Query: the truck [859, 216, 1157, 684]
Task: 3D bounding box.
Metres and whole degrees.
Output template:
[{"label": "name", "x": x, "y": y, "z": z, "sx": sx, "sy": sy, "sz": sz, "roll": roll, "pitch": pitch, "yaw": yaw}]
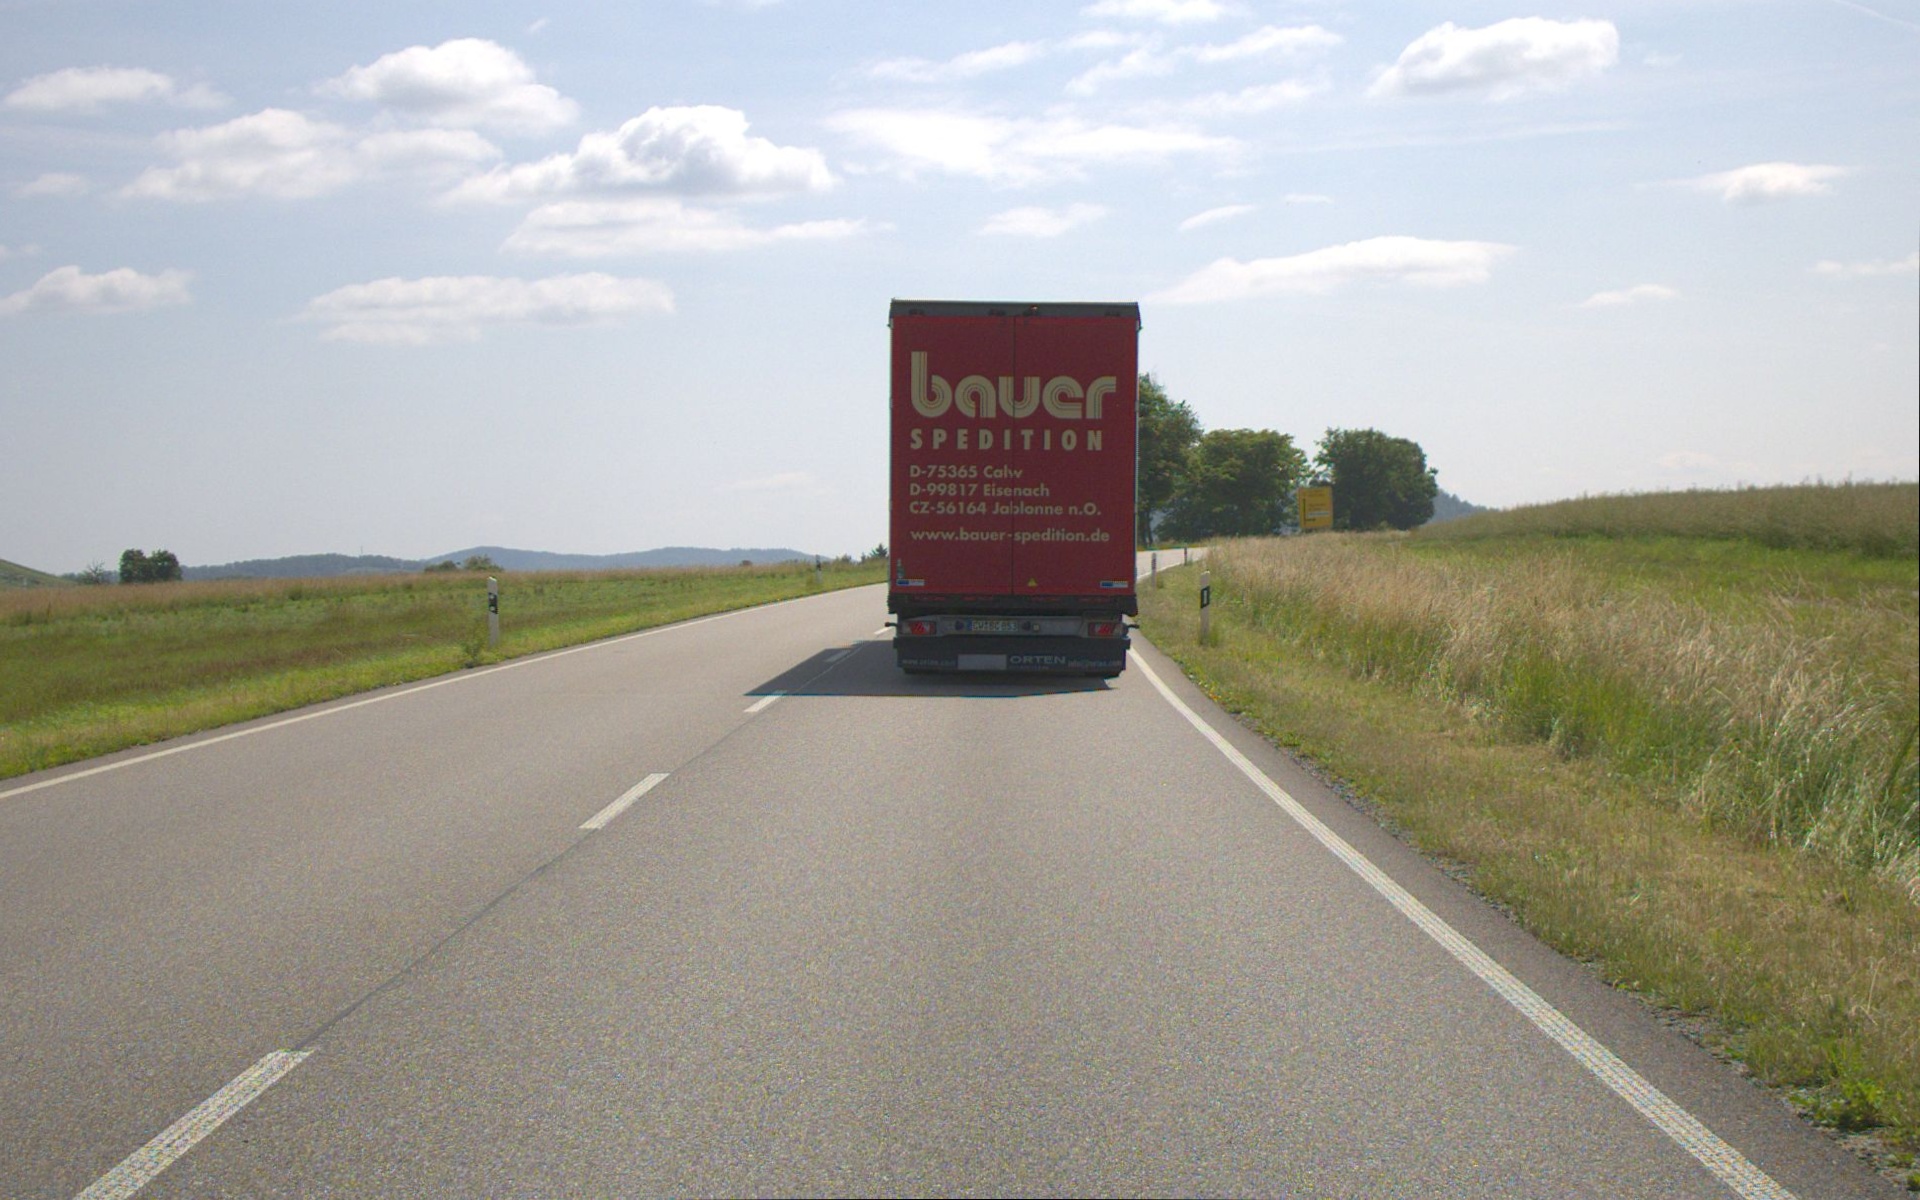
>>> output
[{"label": "truck", "x": 0.658, "y": -1.613, "z": 39.262, "sx": 2.975, "sy": 4.697, "sz": 9.366, "roll": 0, "pitch": 1, "yaw": 2}]
